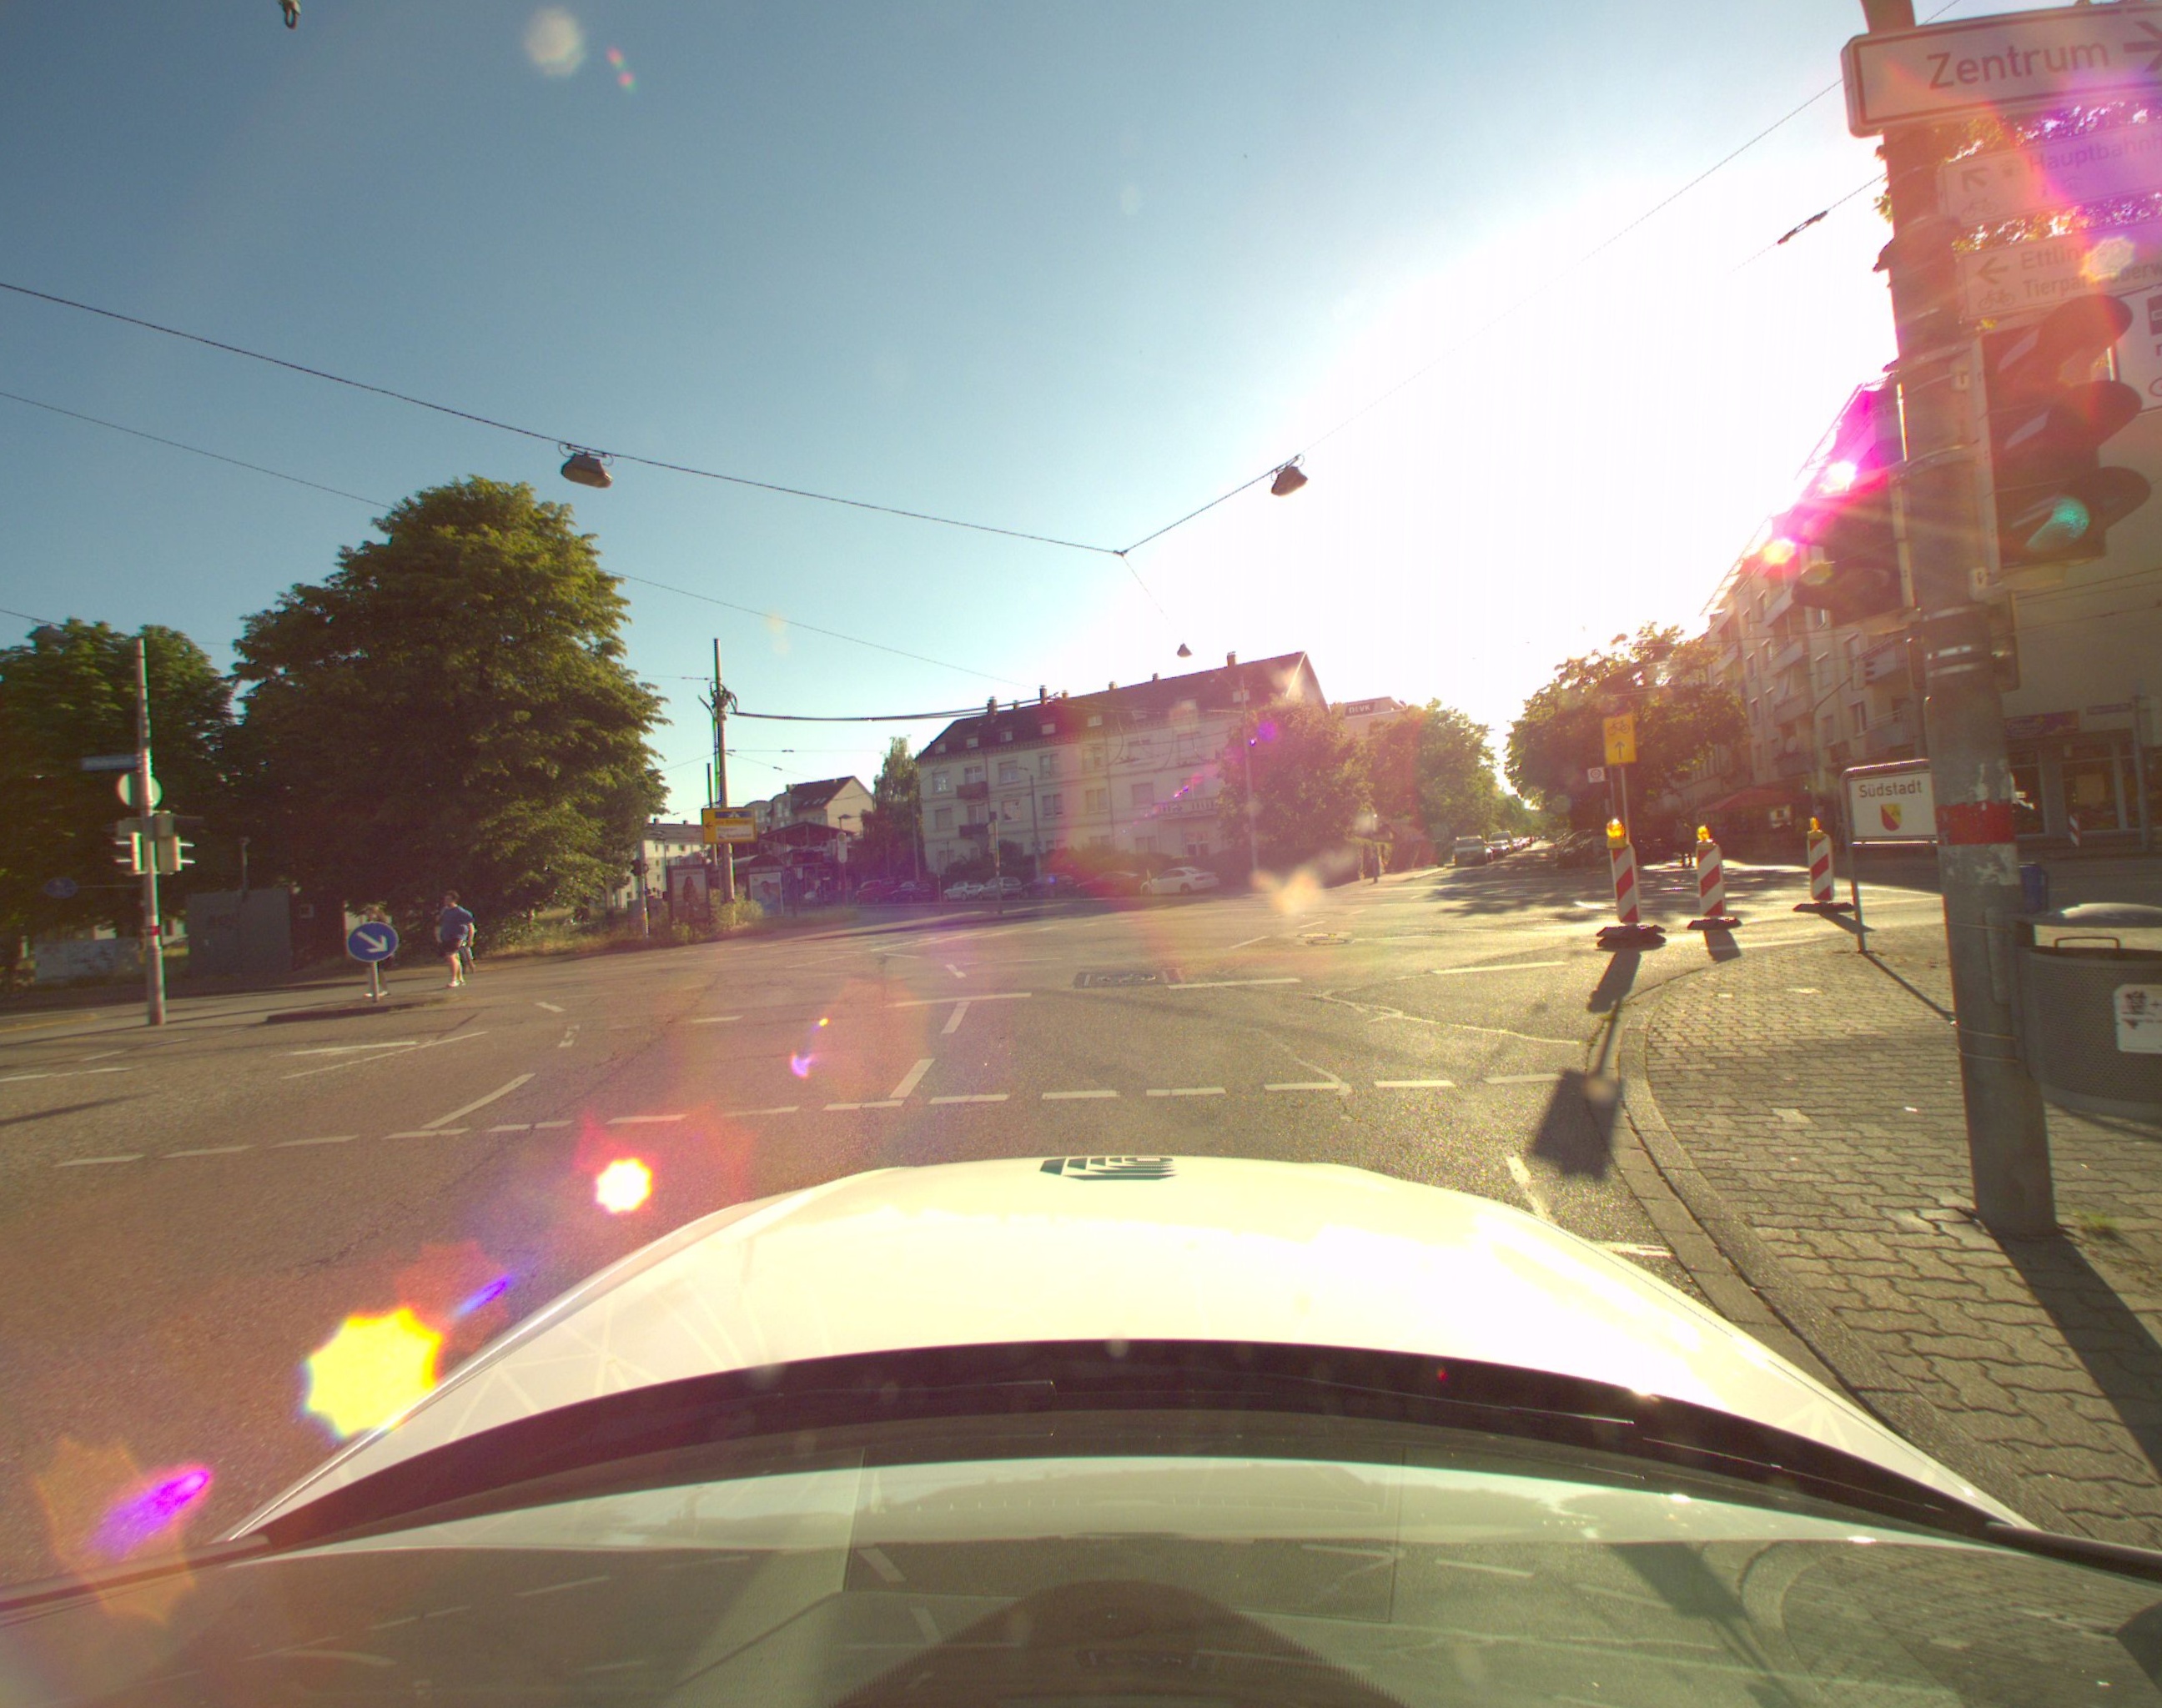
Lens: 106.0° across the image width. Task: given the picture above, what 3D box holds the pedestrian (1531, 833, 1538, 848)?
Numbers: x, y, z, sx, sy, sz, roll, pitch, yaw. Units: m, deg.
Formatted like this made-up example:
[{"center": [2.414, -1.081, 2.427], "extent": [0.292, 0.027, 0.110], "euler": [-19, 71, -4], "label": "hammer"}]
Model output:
[{"center": [66.246, -1.967, 118.933], "extent": [0.729, 2.014, 0.748], "euler": [-5, -2, 32], "label": "pedestrian"}]

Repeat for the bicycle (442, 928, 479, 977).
[{"center": [-16.555, 2.590, 21.715], "extent": [0.704, 1.142, 2.176], "euler": [-4, -1, -38], "label": "bicycle"}]

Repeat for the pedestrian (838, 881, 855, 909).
[{"center": [-17.685, 3.082, 61.412], "extent": [0.928, 2.014, 0.760], "euler": [-3, -2, -35], "label": "pedestrian"}]

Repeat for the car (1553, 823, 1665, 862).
[{"center": [32.981, -0.654, 51.112], "extent": [5.567, 1.924, 2.376], "euler": [-5, -3, 27], "label": "car"}]

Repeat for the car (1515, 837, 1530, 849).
[{"center": [68.120, -1.629, 125.663], "extent": [1.975, 1.689, 4.024], "euler": [-1, -2, 29], "label": "car"}]

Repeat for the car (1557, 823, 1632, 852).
[{"center": [43.043, -1.332, 68.413], "extent": [5.042, 1.924, 2.376], "euler": [-5, -3, 27], "label": "car"}]

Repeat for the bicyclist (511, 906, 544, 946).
[{"center": [-24.243, 3.150, 35.681], "extent": [0.662, 1.652, 0.892], "euler": [-5, -2, 23], "label": "bicyclist"}]

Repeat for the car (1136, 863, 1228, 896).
[{"center": [5.169, 1.339, 42.050], "extent": [1.942, 1.376, 4.442], "euler": [-6, 0, -42], "label": "car"}]

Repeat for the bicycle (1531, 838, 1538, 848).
[{"center": [66.241, -1.600, 118.889], "extent": [0.759, 1.324, 1.936], "euler": [-5, -2, 30], "label": "bicycle"}]

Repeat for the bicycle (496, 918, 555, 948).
[{"center": [-24.248, 3.439, 35.598], "extent": [0.655, 1.069, 2.031], "euler": [-5, -1, 25], "label": "bicycle"}]

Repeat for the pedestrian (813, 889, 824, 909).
[{"center": [-20.140, 3.437, 62.470], "extent": [0.569, 1.500, 0.672], "euler": [-3, -2, -28], "label": "pedestrian"}]

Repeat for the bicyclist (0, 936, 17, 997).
[{"center": [-28.008, 2.904, 20.625], "extent": [1.035, 1.532, 0.695], "euler": [-4, -1, -12], "label": "bicyclist"}]

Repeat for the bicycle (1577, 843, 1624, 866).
[{"center": [23.933, 0.020, 37.557], "extent": [1.707, 0.932, 0.676], "euler": [-5, -2, 30], "label": "bicycle"}]

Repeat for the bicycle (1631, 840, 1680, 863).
[{"center": [25.903, -0.118, 36.726], "extent": [1.707, 0.932, 0.565], "euler": [-5, -2, 30], "label": "bicycle"}]

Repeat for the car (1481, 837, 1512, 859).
[{"center": [37.943, -0.542, 74.340], "extent": [2.332, 1.795, 5.341], "euler": [-5, -1, 27], "label": "car"}]

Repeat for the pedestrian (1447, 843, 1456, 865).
[{"center": [30.186, 0.011, 66.310], "extent": [0.573, 1.731, 0.611], "euler": [-4, -2, 24], "label": "pedestrian"}]

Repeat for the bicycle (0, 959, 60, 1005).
[{"center": [-28.743, 3.459, 21.632], "extent": [2.015, 1.069, 0.660], "euler": [-4, -1, -14], "label": "bicycle"}]

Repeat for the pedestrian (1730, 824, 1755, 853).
[{"center": [33.011, -0.791, 40.632], "extent": [0.803, 1.362, 0.920], "euler": [-5, -2, 35], "label": "pedestrian"}]

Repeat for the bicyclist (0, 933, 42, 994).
[{"center": [-28.664, 2.931, 21.665], "extent": [1.035, 1.532, 0.657], "euler": [-4, -1, -14], "label": "bicyclist"}]

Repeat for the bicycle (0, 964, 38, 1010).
[{"center": [-27.996, 3.455, 20.595], "extent": [2.014, 1.069, 0.661], "euler": [-4, -1, -12], "label": "bicycle"}]

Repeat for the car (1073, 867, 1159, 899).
[{"center": [1.933, 1.657, 46.045], "extent": [4.646, 1.376, 1.999], "euler": [-5, 0, 45], "label": "car"}]

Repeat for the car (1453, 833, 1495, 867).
[{"center": [27.007, -0.292, 55.874], "extent": [2.332, 2.014, 5.341], "euler": [-5, -1, 27], "label": "car"}]

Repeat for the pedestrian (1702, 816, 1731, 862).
[{"center": [25.035, -0.588, 32.103], "extent": [0.684, 1.750, 0.846], "euler": [-5, -2, 32], "label": "pedestrian"}]

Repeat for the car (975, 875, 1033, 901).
[{"center": [-5.110, 2.264, 53.799], "extent": [1.998, 1.447, 3.675], "euler": [-6, 0, -40], "label": "car"}]

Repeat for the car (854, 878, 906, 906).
[{"center": [-16.893, 3.214, 68.171], "extent": [2.068, 1.961, 5.089], "euler": [-6, 0, -40], "label": "car"}]

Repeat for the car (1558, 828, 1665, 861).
[{"center": [31.682, -0.516, 48.852], "extent": [5.042, 1.557, 2.376], "euler": [-5, -3, 27], "label": "car"}]

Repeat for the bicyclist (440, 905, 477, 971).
[{"center": [-16.604, 2.223, 21.728], "extent": [0.717, 1.629, 1.030], "euler": [-3, -2, -38], "label": "bicyclist"}]

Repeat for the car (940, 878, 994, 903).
[{"center": [-8.032, 2.577, 57.291], "extent": [1.855, 1.447, 3.912], "euler": [-6, 0, -40], "label": "car"}]

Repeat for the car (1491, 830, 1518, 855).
[{"center": [45.879, -1.216, 88.197], "extent": [2.332, 2.514, 5.341], "euler": [-5, -1, 27], "label": "car"}]

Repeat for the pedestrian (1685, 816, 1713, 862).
[{"center": [24.695, -0.596, 32.535], "extent": [0.684, 1.750, 0.799], "euler": [-5, -2, 45], "label": "pedestrian"}]

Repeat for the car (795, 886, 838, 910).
[{"center": [-25.783, 4.310, 79.142], "extent": [2.068, 1.961, 5.089], "euler": [-6, 0, -40], "label": "car"}]

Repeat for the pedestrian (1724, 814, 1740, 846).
[{"center": [42.698, -1.573, 53.416], "extent": [0.531, 2.014, 0.514], "euler": [-5, -2, 22], "label": "pedestrian"}]

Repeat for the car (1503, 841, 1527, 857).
[{"center": [54.286, -0.642, 101.872], "extent": [2.332, 1.795, 5.343], "euler": [-5, -2, 30], "label": "car"}]

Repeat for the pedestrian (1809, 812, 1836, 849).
[{"center": [32.975, -1.038, 36.210], "extent": [0.612, 1.591, 0.480], "euler": [-4, -1, 13], "label": "pedestrian"}]

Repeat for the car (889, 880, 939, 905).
[{"center": [-12.984, 2.994, 63.127], "extent": [1.855, 1.668, 4.318], "euler": [-6, 0, -40], "label": "car"}]

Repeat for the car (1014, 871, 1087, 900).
[{"center": [-1.962, 1.965, 50.554], "extent": [1.998, 1.447, 4.649], "euler": [-6, 0, -40], "label": "car"}]

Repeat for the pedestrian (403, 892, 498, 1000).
[{"center": [-12.188, 1.740, 15.785], "extent": [0.909, 1.925, 1.067], "euler": [-4, -1, -1], "label": "pedestrian"}]

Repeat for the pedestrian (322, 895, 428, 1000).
[{"center": [-12.895, 1.680, 14.914], "extent": [0.909, 1.747, 1.067], "euler": [-4, -1, -1], "label": "pedestrian"}]

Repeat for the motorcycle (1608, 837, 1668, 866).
[{"center": [24.034, -0.093, 35.167], "extent": [1.934, 1.109, 0.842], "euler": [-5, -2, 24], "label": "motorcycle"}]
